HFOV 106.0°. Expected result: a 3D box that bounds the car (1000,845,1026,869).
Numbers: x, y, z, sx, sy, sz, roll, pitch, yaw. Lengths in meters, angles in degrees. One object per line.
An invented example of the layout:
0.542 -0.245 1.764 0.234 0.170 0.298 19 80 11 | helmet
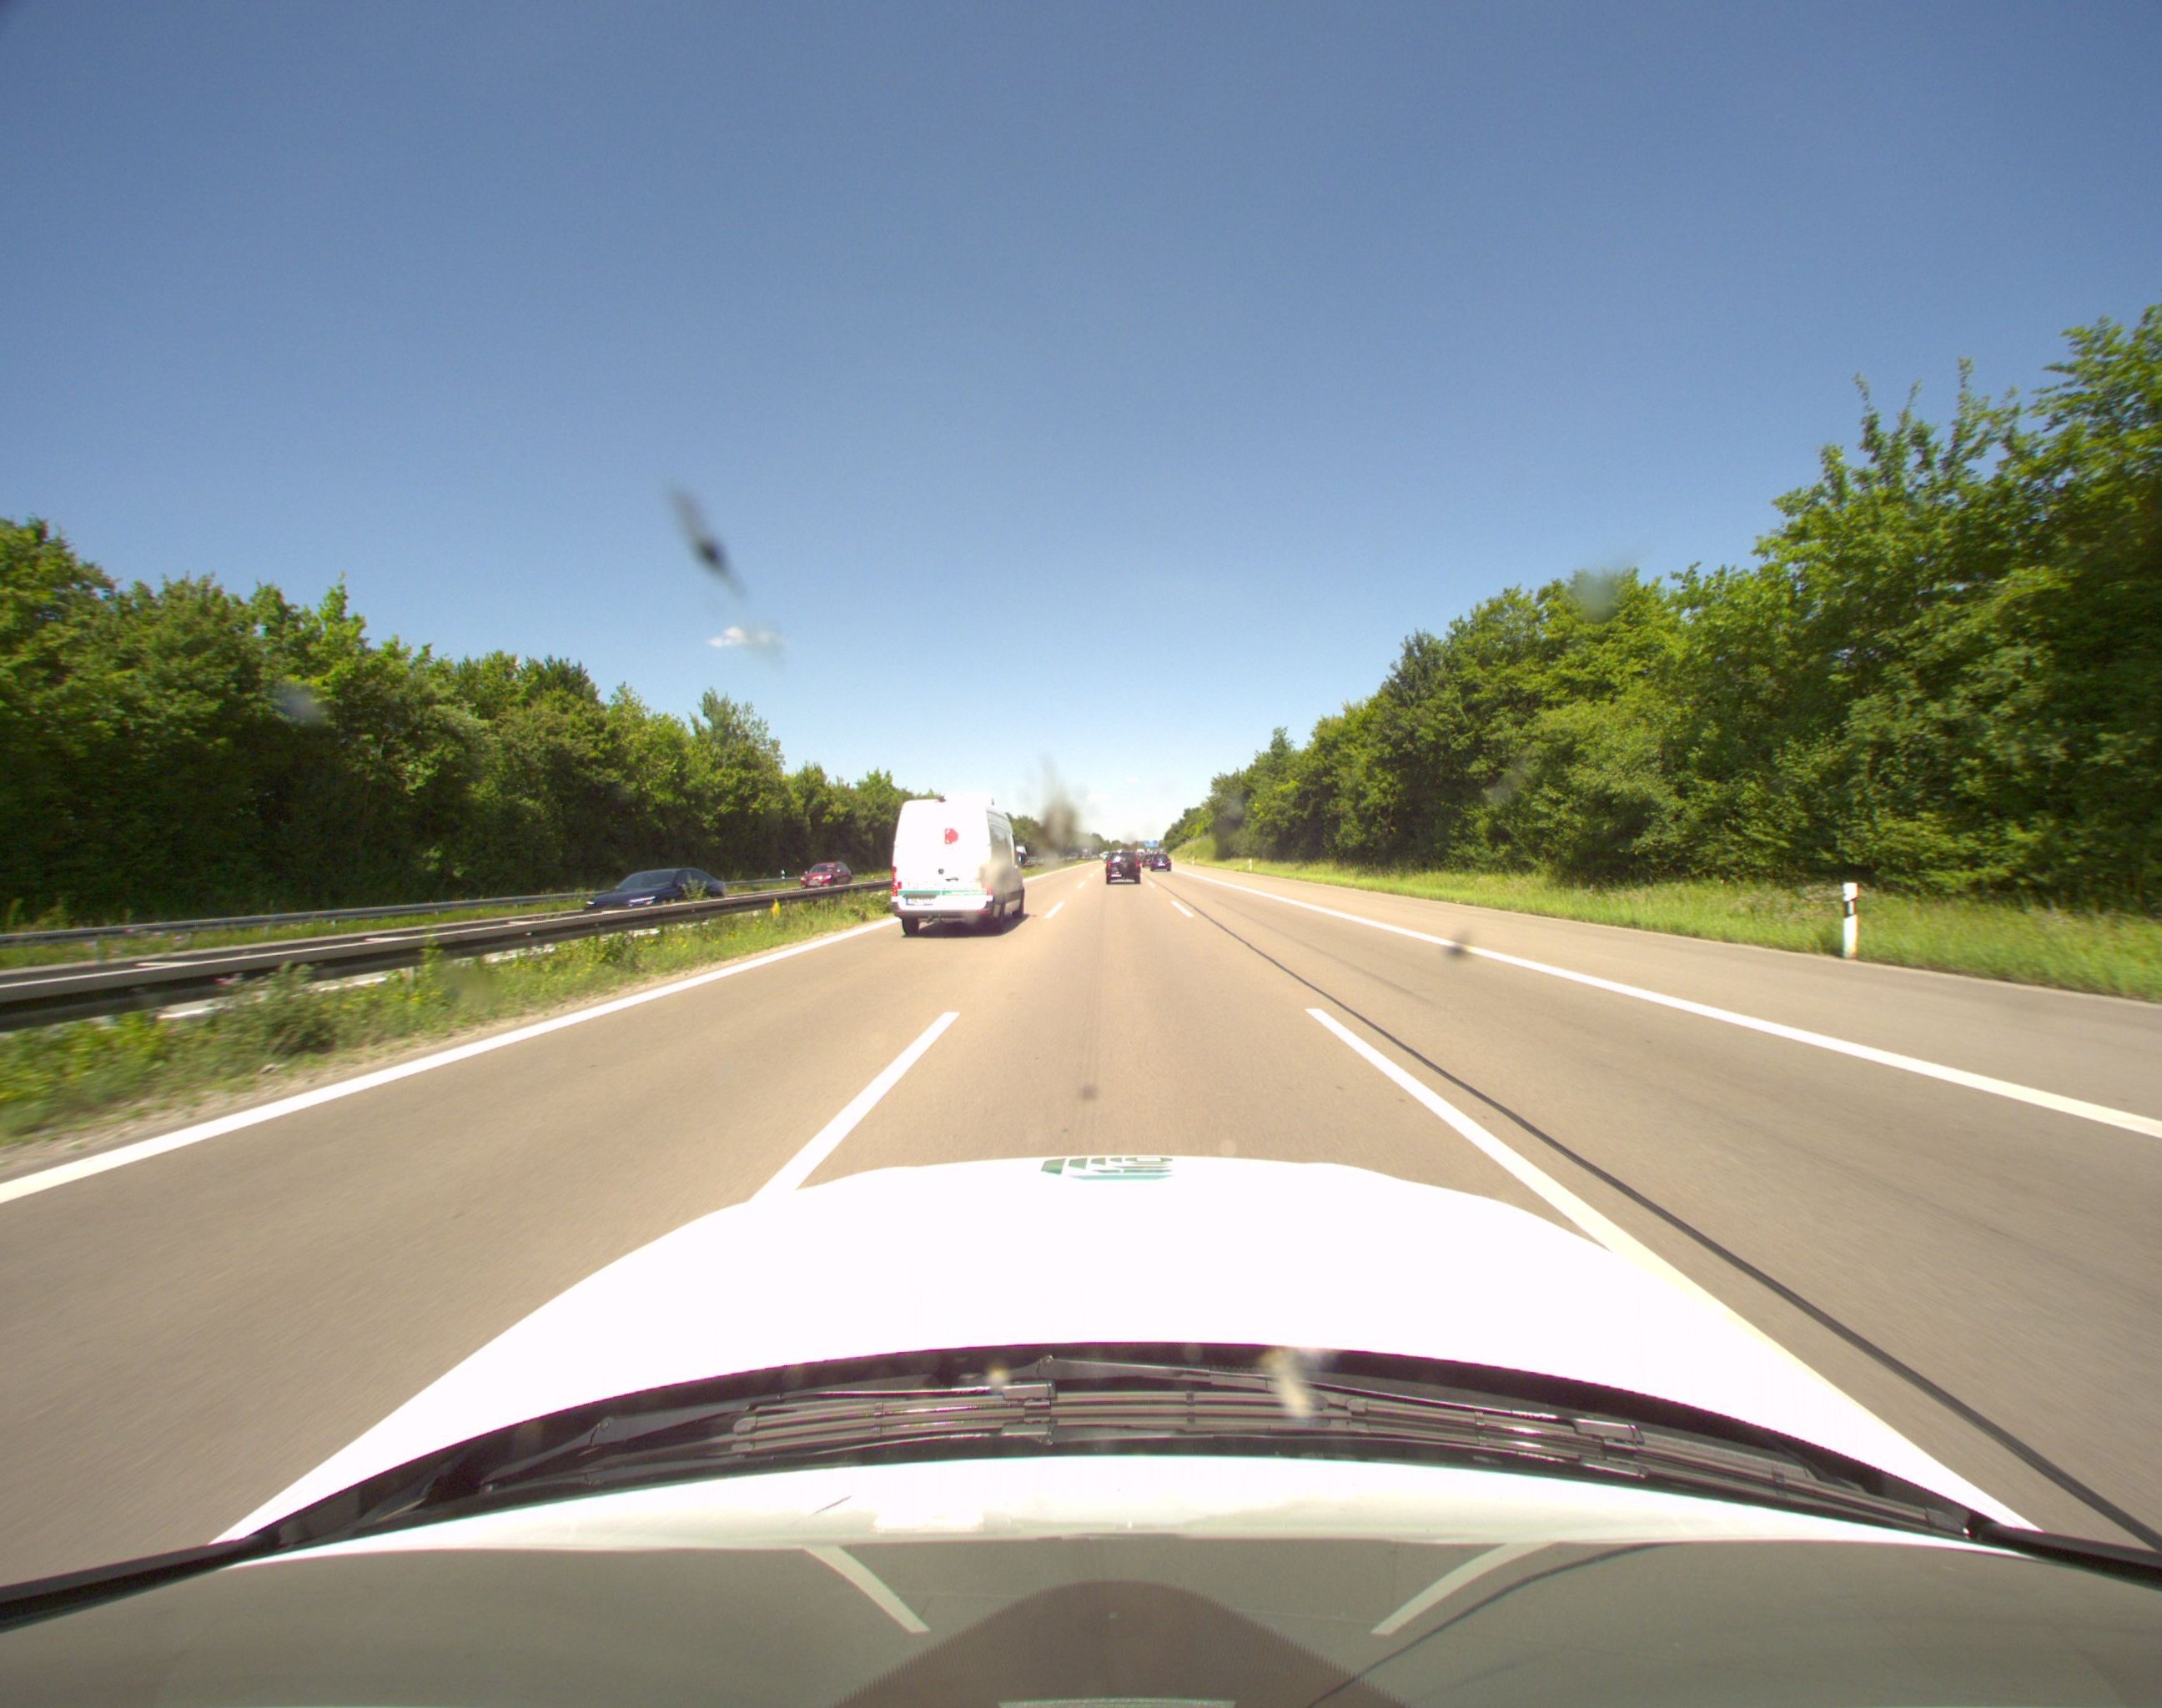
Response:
-7.698 0.326 92.543 2.062 2.555 6.404 -2 0 2 | car

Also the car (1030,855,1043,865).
-8.375 1.118 154.851 1.986 1.855 4.501 -2 -1 2 | car

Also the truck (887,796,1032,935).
-2.442 0.206 18.296 1.986 2.542 6.695 0 0 2 | truck

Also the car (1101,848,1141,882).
2.044 0.574 42.324 1.899 1.665 4.001 -2 -1 1 | car

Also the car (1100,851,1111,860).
5.767 0.266 191.520 1.984 2.013 4.957 -2 0 5 | car

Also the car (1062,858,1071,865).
-3.757 1.944 214.753 1.986 1.855 4.501 -2 -1 2 | car

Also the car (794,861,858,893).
-13.859 1.238 44.487 1.854 1.629 4.325 -2 -1 4 | car

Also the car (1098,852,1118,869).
2.920 0.663 87.372 1.985 1.706 4.340 -2 0 4 | car

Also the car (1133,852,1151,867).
6.896 0.627 91.847 1.835 1.611 4.001 -2 -1 2 | car

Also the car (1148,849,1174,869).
7.025 0.487 71.796 1.986 1.684 4.001 -2 -1 1 | car

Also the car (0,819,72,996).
-14.743 0.665 7.762 1.986 2.235 6.520 -2 -1 2 | car

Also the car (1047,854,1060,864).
-4.880 0.859 143.477 1.899 1.788 5.062 -2 0 2 | car
